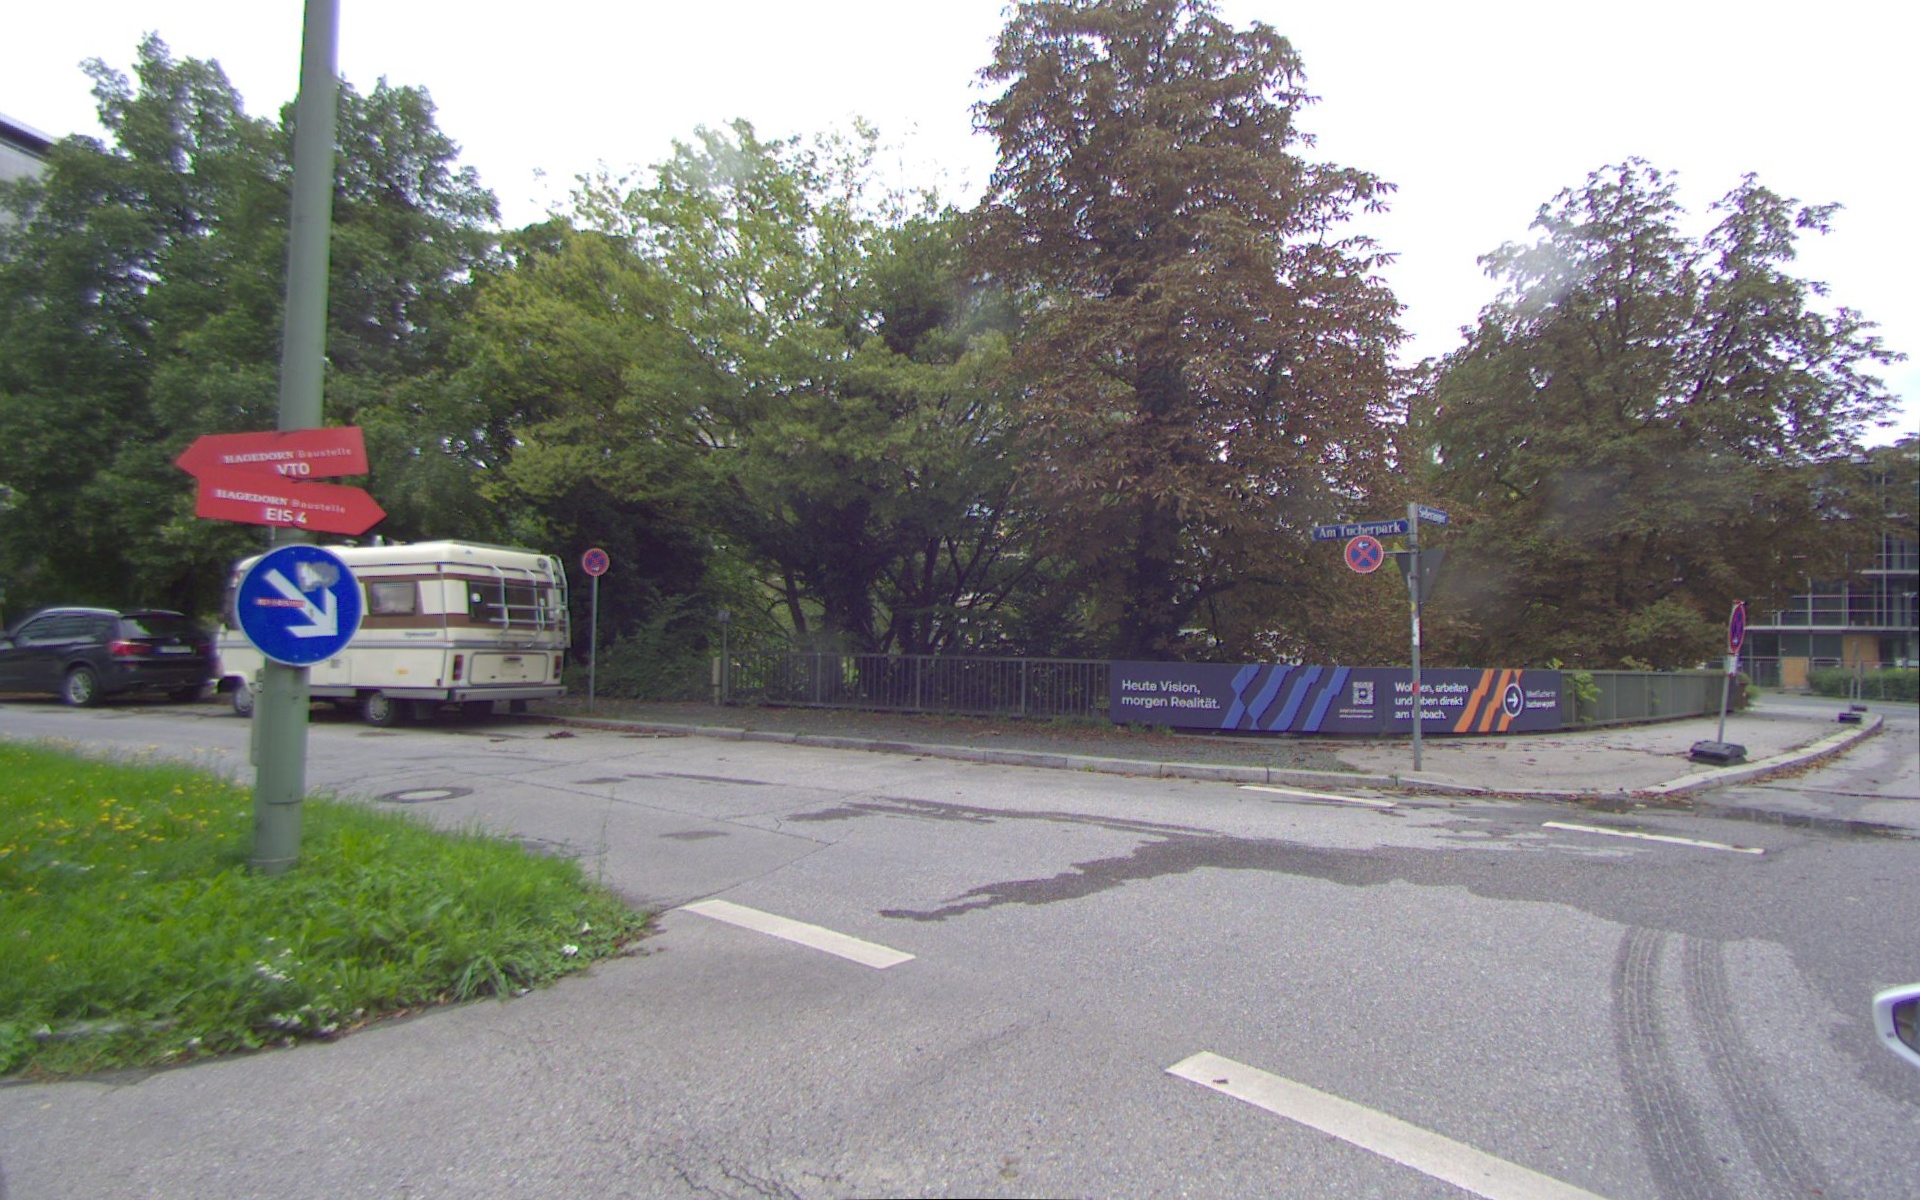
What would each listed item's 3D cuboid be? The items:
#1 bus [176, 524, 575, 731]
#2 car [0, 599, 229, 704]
[{"bbox_3d":[-9.001,0.410,15.461,5.624,2.734,2.322,0,-3,23],"label":"bus"},{"bbox_3d":[-15.583,0.880,17.861,4.370,1.671,1.783,1,-3,16],"label":"car"}]
